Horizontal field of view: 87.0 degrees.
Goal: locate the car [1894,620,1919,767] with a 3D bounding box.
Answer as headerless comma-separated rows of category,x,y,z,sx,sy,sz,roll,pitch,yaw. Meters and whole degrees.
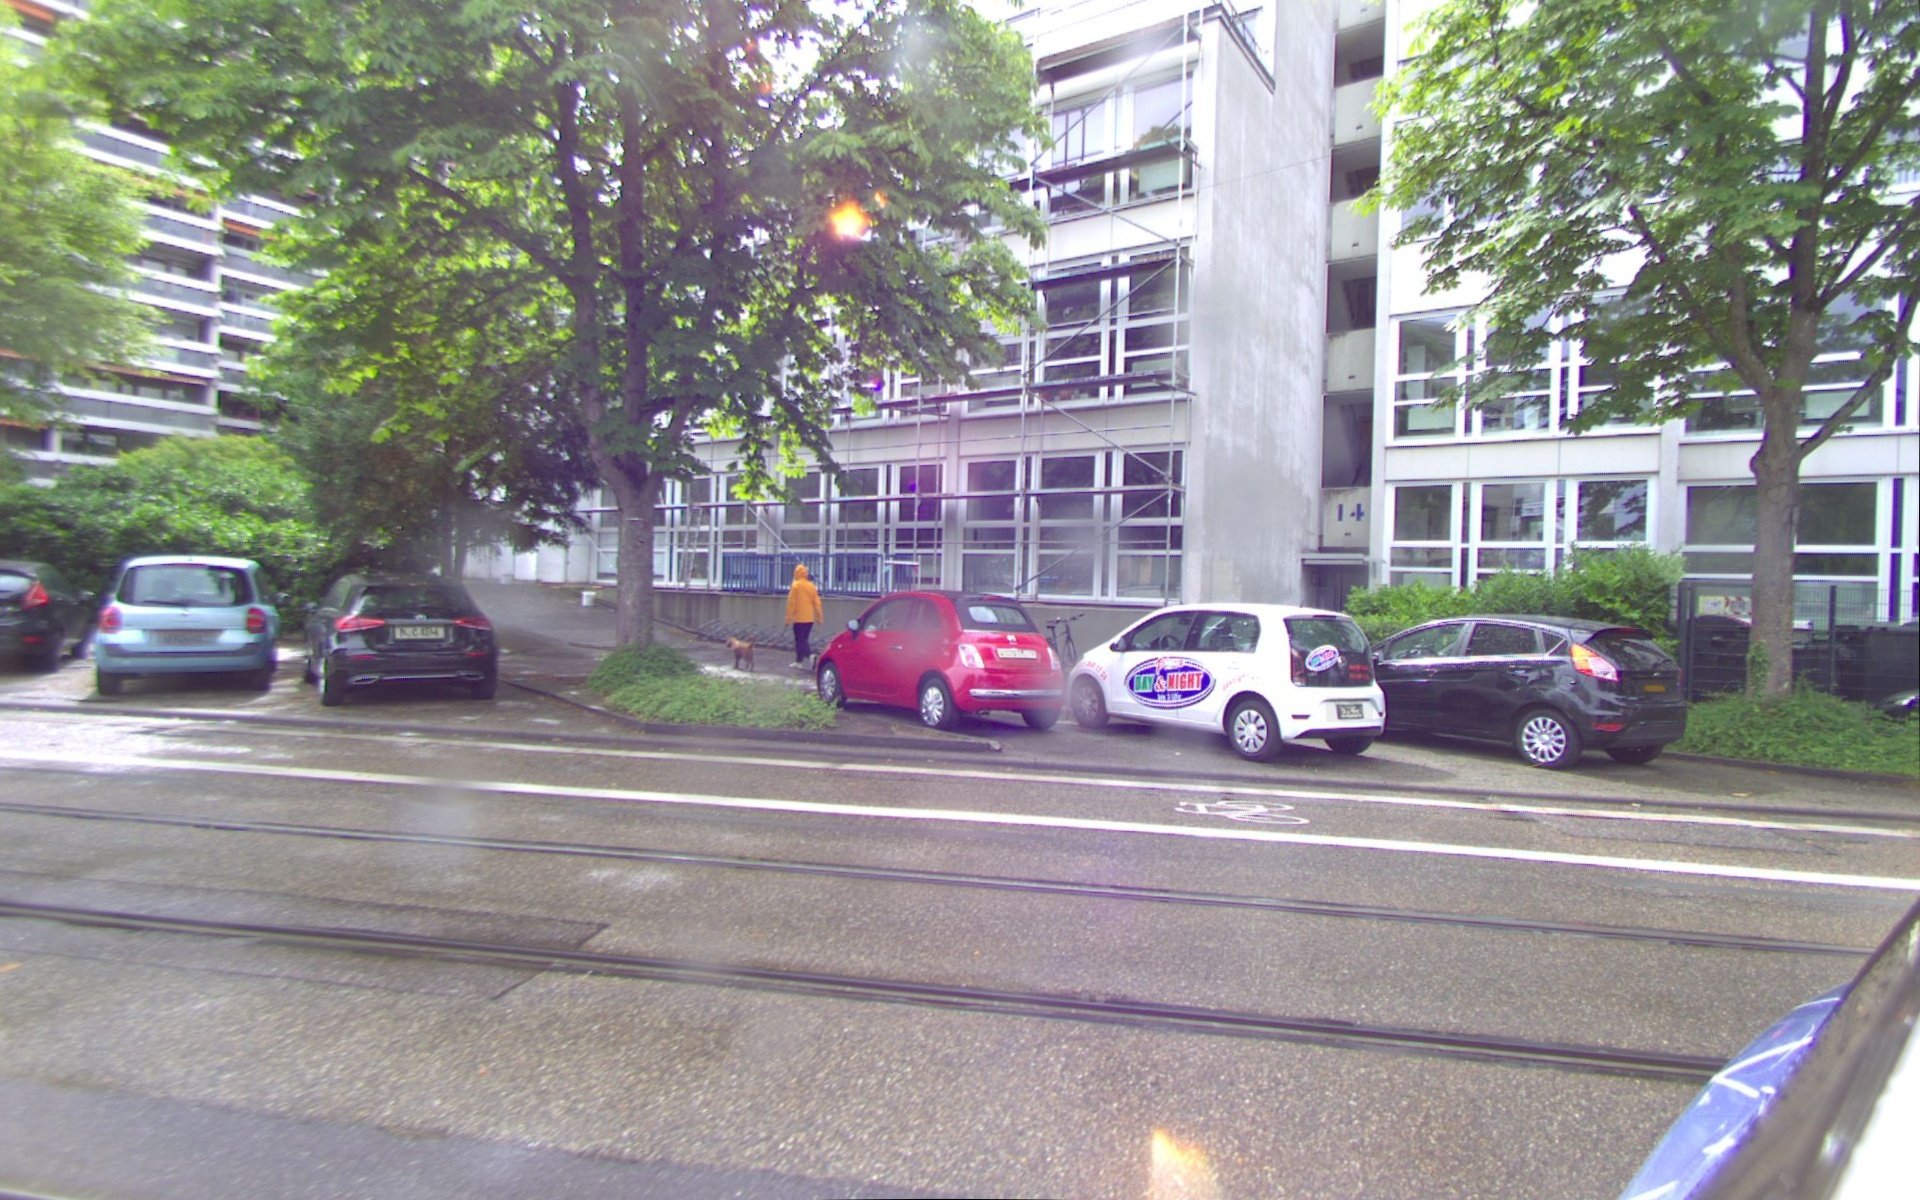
car,12.279,1.037,9.899,1.843,1.575,4.368,3,-2,-37

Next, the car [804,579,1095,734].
car,-0.248,0.559,11.791,1.709,1.488,3.408,3,-1,-36

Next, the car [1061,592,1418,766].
car,2.818,0.699,10.833,1.677,1.470,3.410,1,1,-33

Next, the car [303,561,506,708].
car,-6.828,0.322,12.267,1.709,1.488,3.650,1,0,-36

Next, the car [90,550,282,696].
car,-9.678,0.222,12.873,1.676,1.570,3.651,2,0,-35

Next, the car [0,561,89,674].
car,-13.330,0.170,13.959,1.737,1.415,3.648,1,1,-37

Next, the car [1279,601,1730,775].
car,5.622,0.789,10.989,1.780,1.500,3.983,2,-1,-29

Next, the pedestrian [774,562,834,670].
pedestrian,-2.656,0.275,17.193,0.693,1.765,0.840,2,-2,-32
